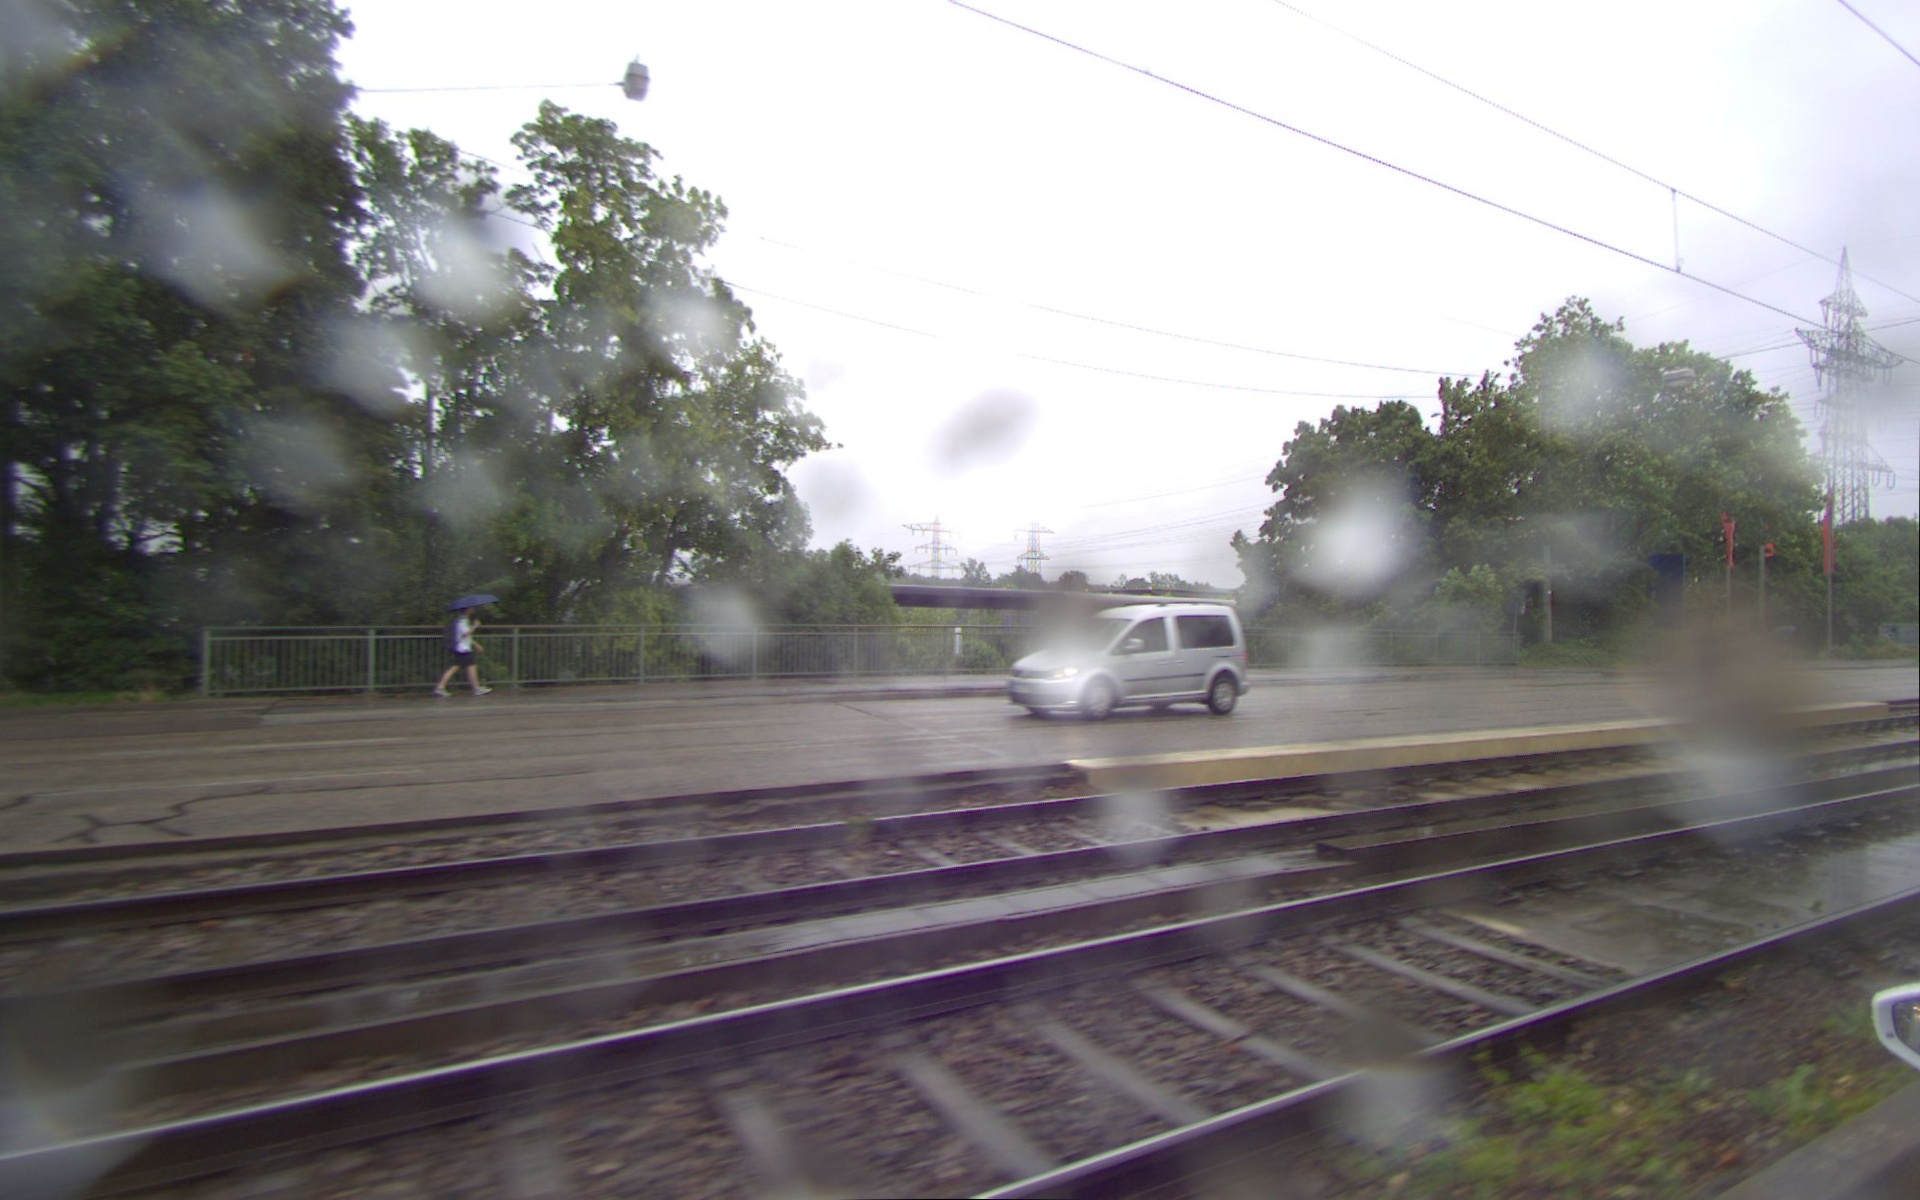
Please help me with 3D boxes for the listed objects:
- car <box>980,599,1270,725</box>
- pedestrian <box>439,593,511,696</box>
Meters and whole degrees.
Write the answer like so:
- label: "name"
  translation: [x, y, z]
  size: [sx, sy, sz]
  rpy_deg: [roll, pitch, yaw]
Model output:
- label: "car"
  translation: [2.794, 0.957, 16.737]
  size: [4.605, 1.840, 1.984]
  rpy_deg: [1, -1, -31]
- label: "pedestrian"
  translation: [-8.748, 0.788, 18.118]
  size: [1.107, 1.782, 0.848]
  rpy_deg: [1, -1, -30]
